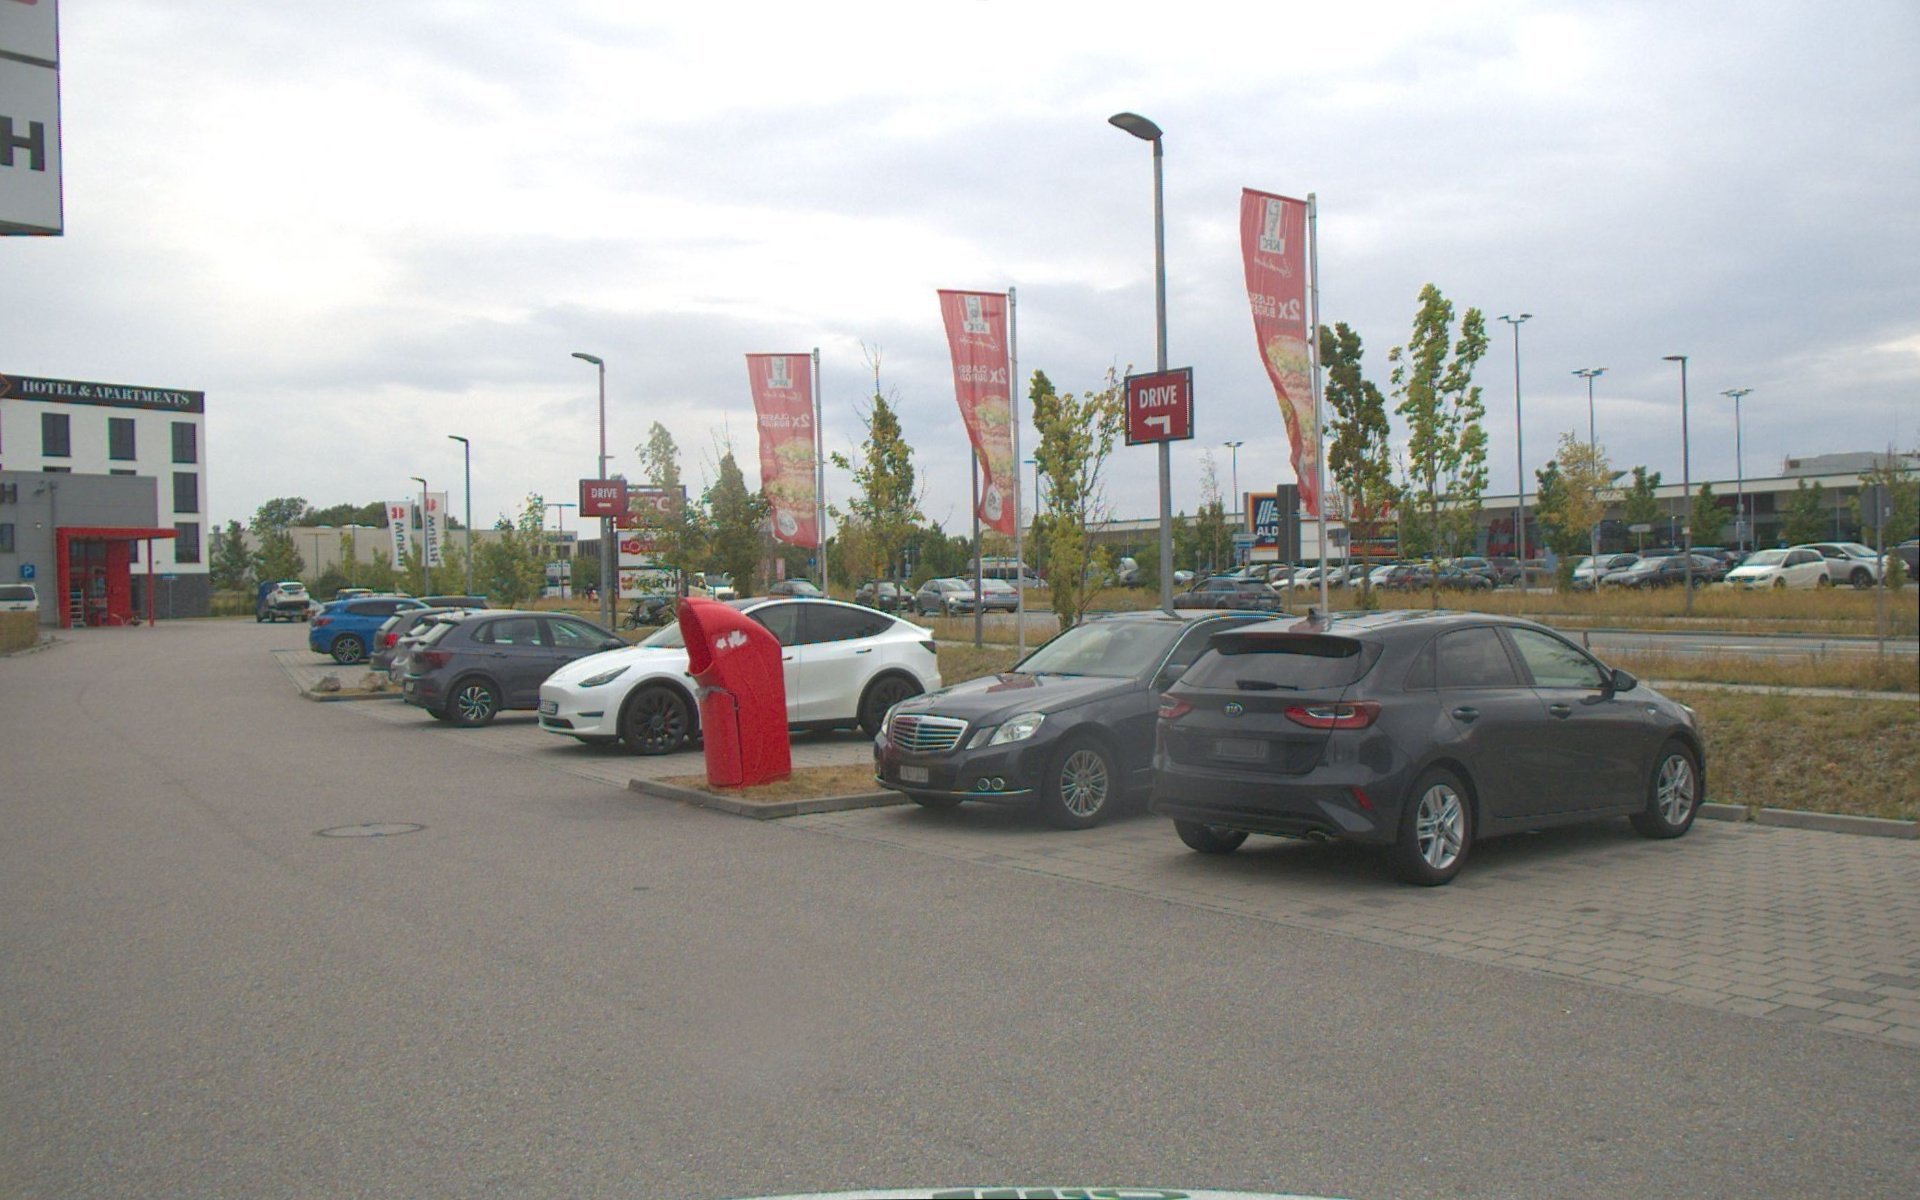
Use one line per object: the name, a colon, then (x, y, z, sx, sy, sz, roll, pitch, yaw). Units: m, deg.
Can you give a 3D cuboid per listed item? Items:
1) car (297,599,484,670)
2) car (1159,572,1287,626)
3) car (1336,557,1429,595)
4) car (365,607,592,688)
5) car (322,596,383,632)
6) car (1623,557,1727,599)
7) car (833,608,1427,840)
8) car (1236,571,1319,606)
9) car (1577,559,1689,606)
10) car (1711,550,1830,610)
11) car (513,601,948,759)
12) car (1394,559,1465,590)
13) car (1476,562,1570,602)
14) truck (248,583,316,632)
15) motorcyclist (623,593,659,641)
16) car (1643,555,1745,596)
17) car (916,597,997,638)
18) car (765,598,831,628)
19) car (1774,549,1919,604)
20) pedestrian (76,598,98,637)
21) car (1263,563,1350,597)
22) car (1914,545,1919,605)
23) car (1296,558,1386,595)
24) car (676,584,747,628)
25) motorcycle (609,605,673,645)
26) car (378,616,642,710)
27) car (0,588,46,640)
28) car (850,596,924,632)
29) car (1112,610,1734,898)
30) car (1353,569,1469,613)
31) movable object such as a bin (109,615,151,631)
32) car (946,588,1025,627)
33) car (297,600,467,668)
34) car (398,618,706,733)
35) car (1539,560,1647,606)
car: (-13.821, 0.793, 40.121, 4.147, 1.571, 1.851, -1, 0, -24)
car: (8.414, -0.044, 53.421, 1.772, 1.579, 4.820, -3, 1, -23)
car: (19.524, -1.115, 76.382, 4.005, 1.566, 1.977, -3, 1, -33)
car: (-9.147, 0.868, 31.459, 3.938, 1.453, 1.713, 0, 0, -26)
car: (-29.492, 0.688, 80.229, 1.841, 1.679, 3.950, 0, -1, -35)
car: (34.355, -1.054, 79.526, 1.981, 1.869, 4.127, -3, 2, -39)
car: (1.460, 0.814, 12.813, 4.698, 1.482, 1.884, 1, -1, -40)
car: (16.275, -0.607, 84.703, 4.005, 1.566, 1.886, -3, 1, -33)
car: (25.077, -0.655, 61.602, 4.000, 1.566, 1.754, -3, 1, -30)
car: (27.774, -0.695, 56.619, 4.277, 1.802, 1.973, -4, 1, -38)
car: (-2.511, 0.819, 18.564, 4.491, 1.568, 1.903, 1, -1, -34)
car: (31.182, -1.693, 109.972, 1.981, 1.869, 4.128, -3, 2, -38)
car: (28.896, -0.906, 84.995, 1.981, 1.869, 4.127, -3, 2, -39)
truck: (-38.546, 0.476, 93.883, 2.309, 2.449, 7.807, 0, -3, -32)
motorcyclist: (-10.506, 0.561, 54.508, 0.927, 1.515, 0.823, -2, 0, -27)
car: (36.072, -1.176, 81.390, 1.981, 1.869, 4.127, -3, 2, -39)
car: (-0.160, 0.671, 65.587, 1.799, 1.485, 3.972, -3, 1, -22)
car: (-8.069, 0.636, 82.114, 1.743, 1.419, 4.179, -2, 1, -28)
car: (31.675, -0.819, 59.102, 1.900, 1.802, 4.267, -3, 1, -35)
pedestrian: (-40.992, 0.829, 77.645, 0.865, 1.834, 0.674, -1, 0, 43)
car: (17.249, -0.996, 82.384, 4.017, 1.527, 1.847, -3, 1, -29)
car: (31.049, -0.856, 50.025, 4.262, 1.802, 1.912, -3, 1, -30)
car: (18.208, -1.108, 79.015, 4.005, 1.566, 1.977, -3, 1, -33)
car: (-12.961, 0.276, 85.942, 1.971, 2.122, 5.181, -2, 1, -28)
motorcycle: (-10.509, 0.814, 54.509, 1.893, 1.229, 0.788, -2, 0, -28)
car: (-7.360, 0.986, 27.091, 3.883, 1.437, 1.822, 0, -1, -29)
car: (-39.136, 0.627, 66.809, 3.974, 1.886, 2.059, -2, 5, 32)
car: (-3.281, 0.602, 73.402, 1.827, 1.525, 4.251, -2, 1, -25)
car: (3.008, 0.789, 10.327, 4.034, 1.437, 1.860, 1, -1, -41)
car: (18.103, -0.373, 66.361, 4.086, 1.566, 1.988, -3, 1, -20)
movable object such as a bin: (-38.637, 1.092, 77.000, 0.948, 0.716, 1.484, -1, -1, 42)
car: (1.055, 0.302, 72.294, 1.771, 1.579, 4.825, -3, 1, -20)
car: (-14.804, 0.838, 42.382, 4.005, 1.485, 1.764, -2, 2, -22)
car: (-5.528, 0.966, 22.501, 3.758, 1.437, 1.720, 1, -1, -32)
car: (24.442, -0.673, 63.879, 4.000, 1.566, 1.754, -3, 1, -30)
